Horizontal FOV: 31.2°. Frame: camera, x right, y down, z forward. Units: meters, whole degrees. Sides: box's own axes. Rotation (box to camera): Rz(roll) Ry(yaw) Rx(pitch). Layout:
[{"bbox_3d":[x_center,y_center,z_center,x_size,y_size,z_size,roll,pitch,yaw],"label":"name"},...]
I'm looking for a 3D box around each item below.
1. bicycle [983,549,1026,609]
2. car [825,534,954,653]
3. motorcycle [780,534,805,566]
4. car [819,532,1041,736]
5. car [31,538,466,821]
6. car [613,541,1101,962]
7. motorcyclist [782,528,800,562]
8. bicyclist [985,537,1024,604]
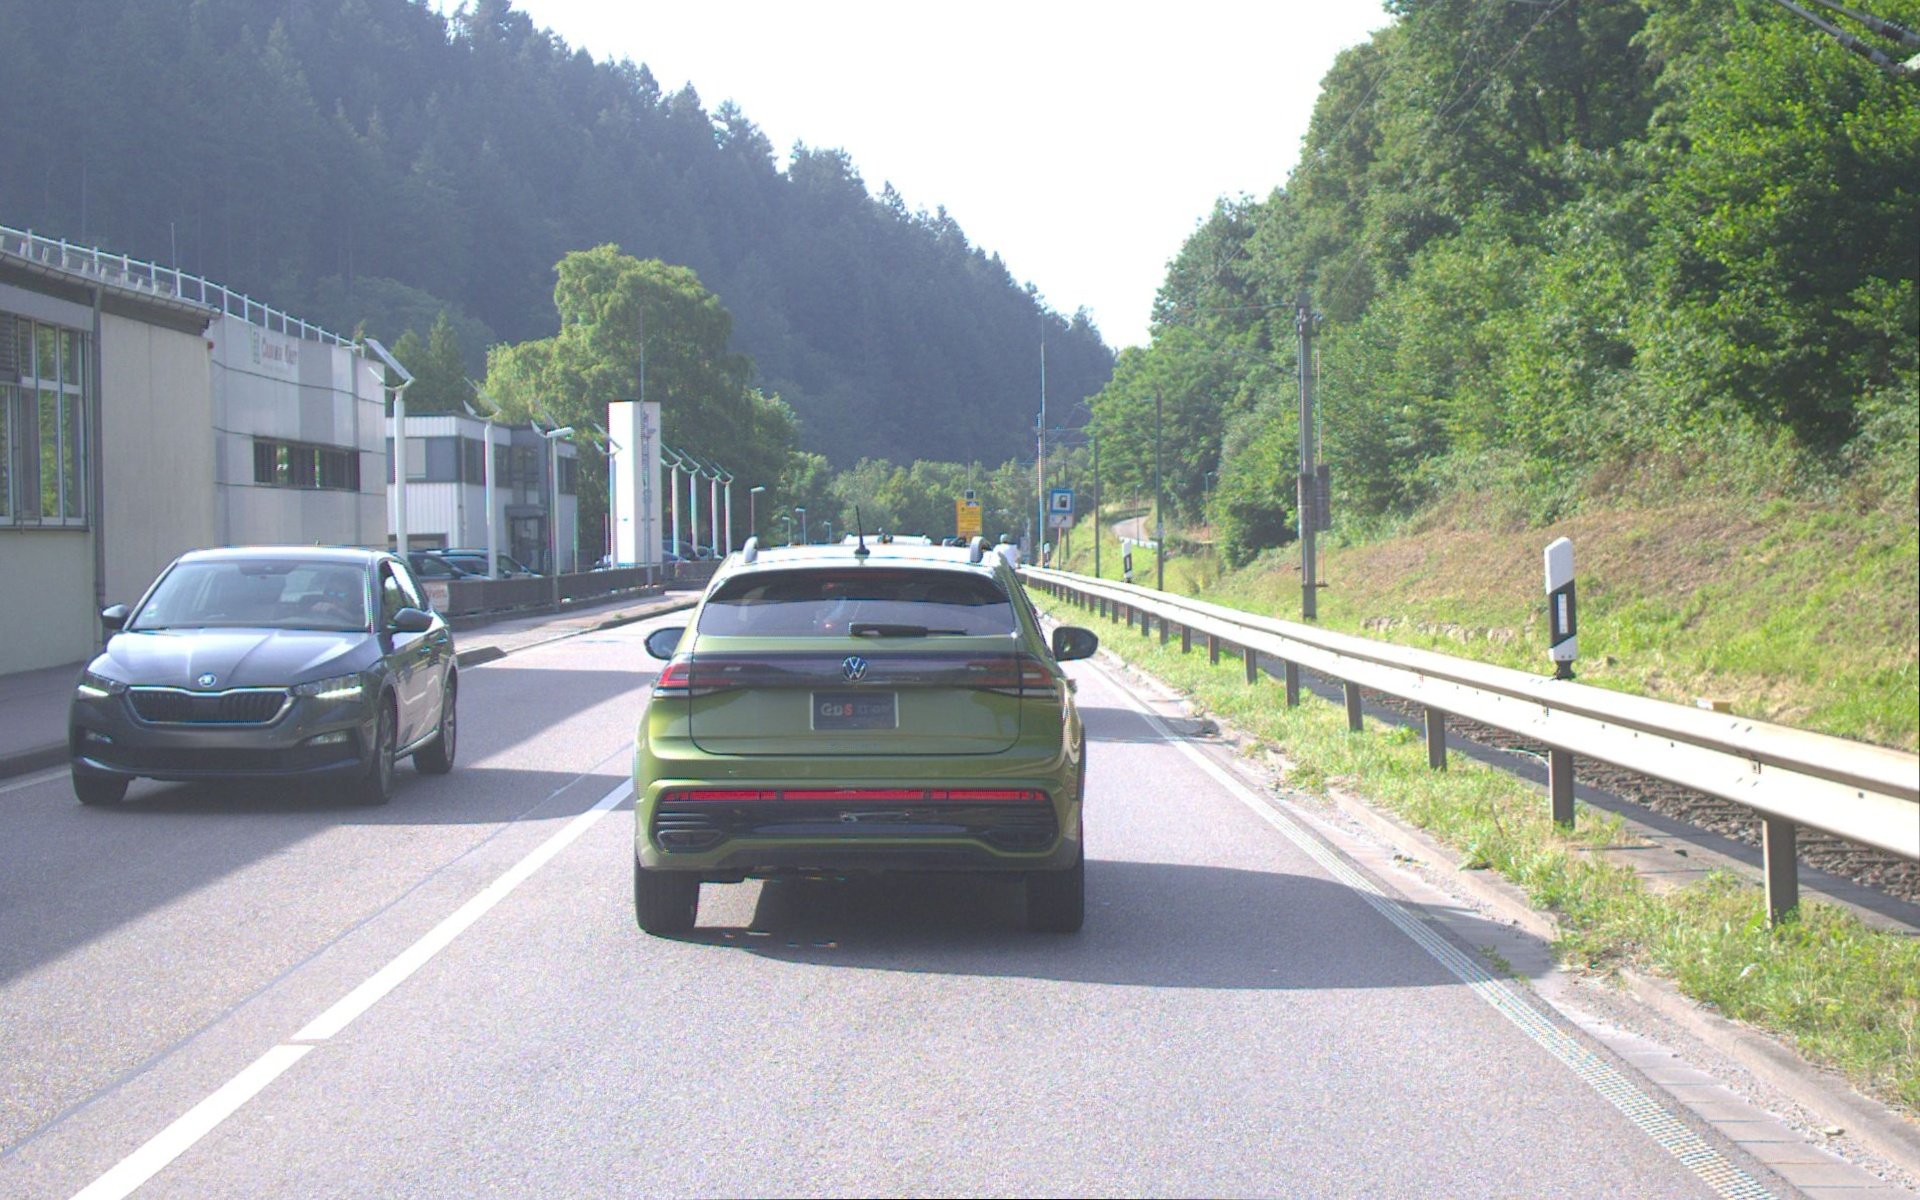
[{"bbox_3d":[0.943,-0.458,73.329,0.811,1.246,2.123,0,1,-2],"label":"bicycle"},{"bbox_3d":[-0.997,-0.126,48.367,1.739,1.596,4.000,0,1,-1],"label":"car"},{"bbox_3d":[-5.579,-1.664,114.410,0.741,1.065,2.492,0,1,-1],"label":"motorcycle"},{"bbox_3d":[-0.281,0.235,29.042,1.739,1.596,4.000,0,1,-1],"label":"car"},{"bbox_3d":[-4.119,0.394,20.510,1.773,1.485,4.052,1,1,-1],"label":"car"},{"bbox_3d":[-0.414,0.506,14.270,1.739,1.503,4.000,0,1,-1],"label":"car"},{"bbox_3d":[-5.609,-1.808,113.986,0.586,1.121,0.637,0,1,-1],"label":"motorcyclist"},{"bbox_3d":[0.940,-0.627,73.257,0.781,1.407,0.675,0,1,-2],"label":"bicyclist"}]
